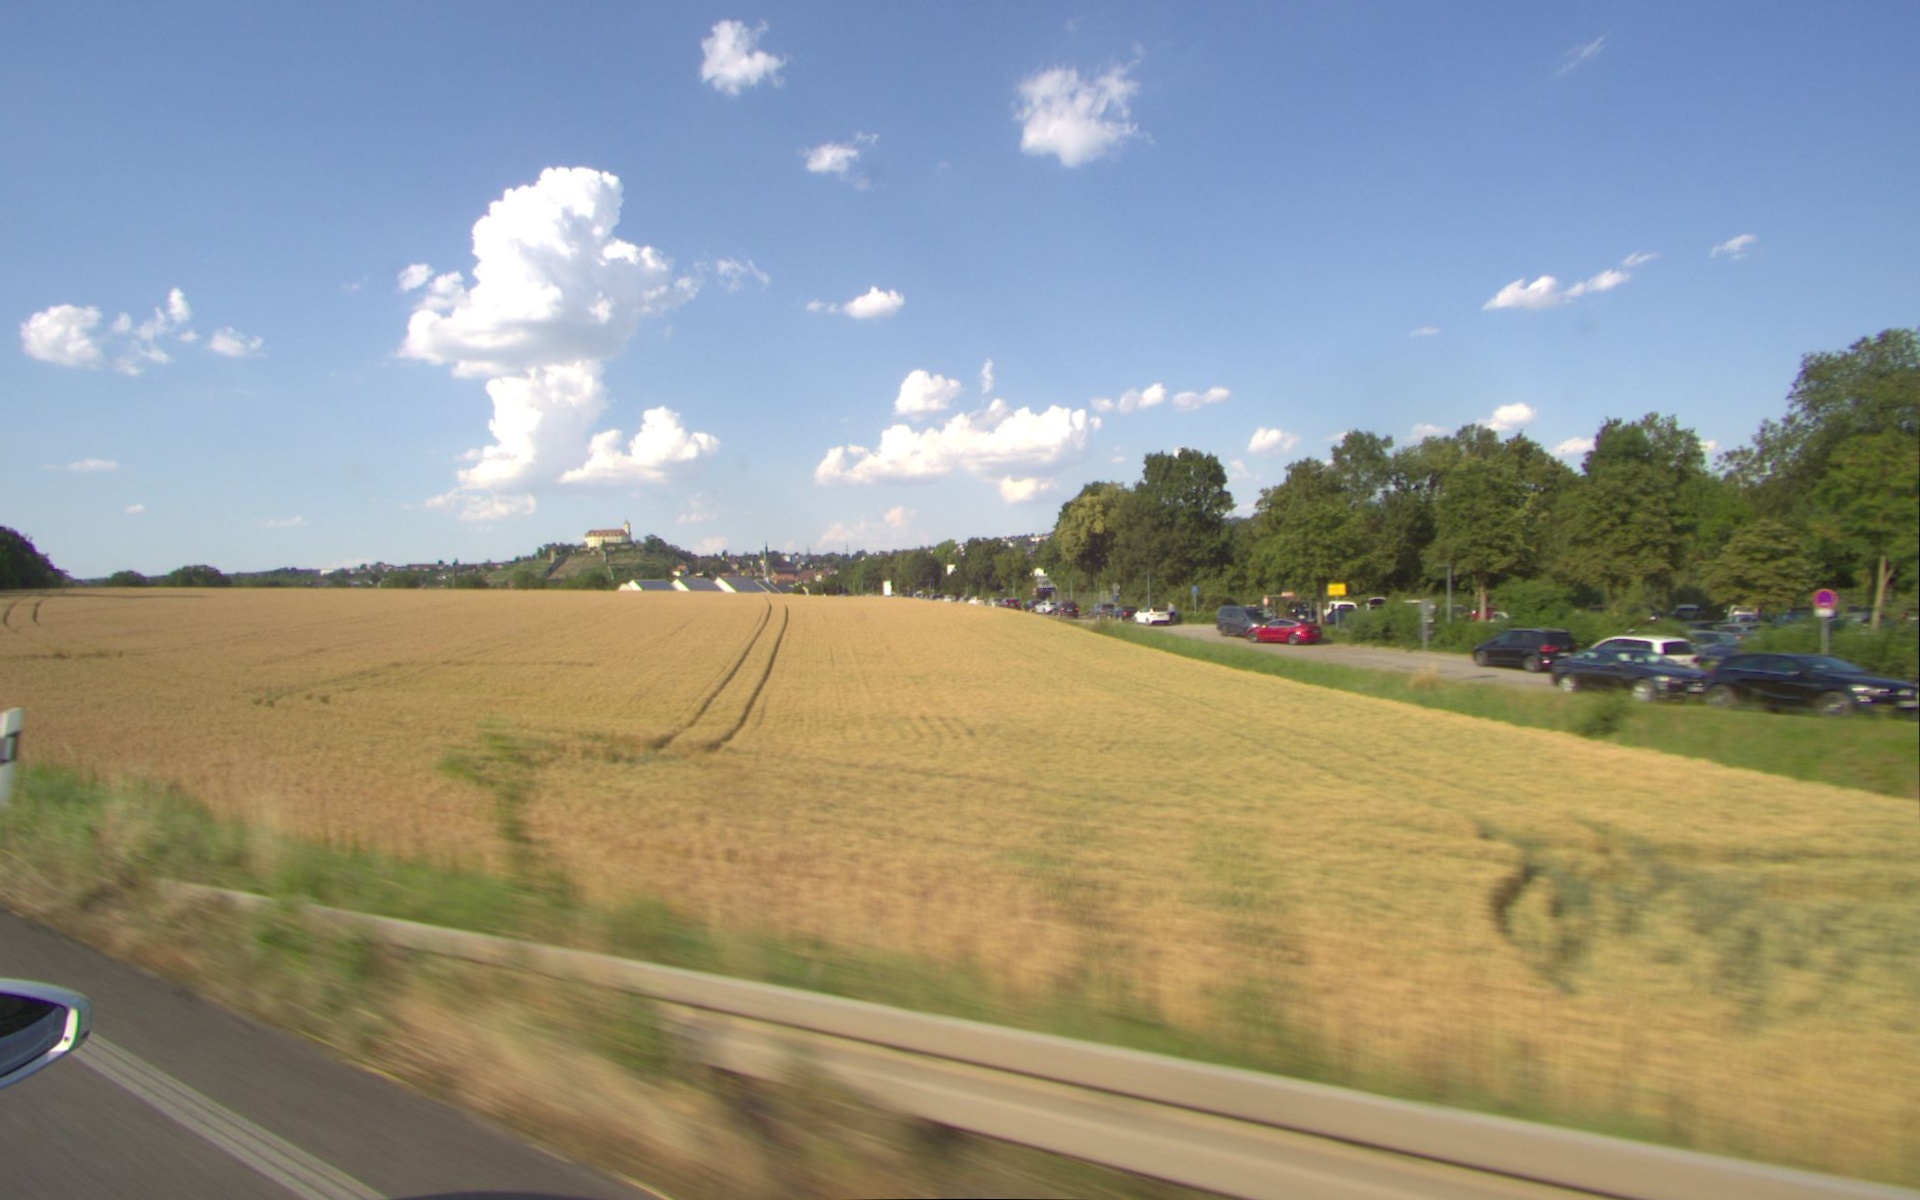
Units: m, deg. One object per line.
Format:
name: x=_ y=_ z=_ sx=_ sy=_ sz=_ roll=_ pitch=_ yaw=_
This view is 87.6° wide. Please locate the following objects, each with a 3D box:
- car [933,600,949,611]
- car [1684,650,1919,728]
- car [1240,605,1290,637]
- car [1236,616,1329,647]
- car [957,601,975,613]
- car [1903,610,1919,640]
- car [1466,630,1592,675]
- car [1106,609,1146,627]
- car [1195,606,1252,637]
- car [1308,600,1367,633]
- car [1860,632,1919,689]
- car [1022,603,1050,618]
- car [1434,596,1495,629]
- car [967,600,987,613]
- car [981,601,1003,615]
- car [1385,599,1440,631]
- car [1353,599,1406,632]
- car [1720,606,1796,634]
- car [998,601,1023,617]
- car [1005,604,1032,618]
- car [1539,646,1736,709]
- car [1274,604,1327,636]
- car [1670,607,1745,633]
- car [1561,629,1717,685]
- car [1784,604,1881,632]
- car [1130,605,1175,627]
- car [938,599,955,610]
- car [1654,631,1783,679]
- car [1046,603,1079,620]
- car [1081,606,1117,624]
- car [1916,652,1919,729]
car: x=-3.143 y=0.938 z=163.443 sx=1.962 sy=1.810 sz=4.875 roll=0 pitch=0 yaw=-9
car: x=19.522 y=1.957 z=23.054 sx=1.962 sy=1.526 sz=4.644 roll=0 pitch=-2 yaw=-8
car: x=23.397 y=1.560 z=77.093 sx=2.315 sy=2.272 sz=5.669 roll=-2 pitch=0 yaw=3
car: x=18.303 y=1.747 z=57.028 sx=1.975 sy=1.527 sz=4.840 roll=-3 pitch=2 yaw=-37
car: x=0.842 y=1.015 z=147.394 sx=1.962 sy=1.810 sz=4.875 roll=0 pitch=0 yaw=-9
car: x=57.389 y=1.414 z=57.662 sx=4.507 sy=1.713 sz=1.804 roll=0 pitch=-1 yaw=-1
car: x=23.009 y=2.084 z=40.740 sx=1.962 sy=1.527 sz=4.639 roll=0 pitch=1 yaw=-9
car: x=13.930 y=1.493 z=84.488 sx=1.962 sy=1.527 sz=4.640 roll=0 pitch=0 yaw=-9
car: x=17.381 y=1.389 z=66.271 sx=1.962 sy=1.809 sz=4.708 roll=0 pitch=1 yaw=-9
car: x=28.912 y=1.210 z=76.967 sx=2.453 sy=2.339 sz=6.077 roll=-2 pitch=0 yaw=3
car: x=31.810 y=1.916 z=32.594 sx=4.517 sy=1.713 sz=1.799 roll=0 pitch=-1 yaw=-19
car: x=7.931 y=1.047 z=104.813 sx=1.962 sy=1.527 sz=4.640 roll=0 pitch=0 yaw=-9
car: x=36.921 y=0.874 z=73.440 sx=2.316 sy=2.272 sz=5.667 roll=-2 pitch=0 yaw=9
car: x=2.387 y=0.911 z=138.604 sx=1.962 sy=1.810 sz=4.640 roll=0 pitch=0 yaw=-9
car: x=4.042 y=1.048 z=128.829 sx=1.962 sy=1.810 sz=4.640 roll=0 pitch=0 yaw=-9
car: x=33.999 y=1.105 z=75.444 sx=2.288 sy=2.272 sz=5.667 roll=-2 pitch=0 yaw=9
car: x=31.567 y=1.136 z=75.556 sx=2.316 sy=2.272 sz=5.667 roll=-2 pitch=0 yaw=9
car: x=51.742 y=1.295 z=64.922 sx=4.518 sy=1.713 sz=1.799 roll=0 pitch=-1 yaw=-20
car: x=5.778 y=1.053 z=115.716 sx=1.962 sy=1.810 sz=4.640 roll=0 pitch=0 yaw=-9
car: x=6.431 y=1.233 z=110.798 sx=1.962 sy=1.527 sz=4.640 roll=0 pitch=0 yaw=-9
car: x=18.679 y=2.087 z=27.926 sx=1.962 sy=1.526 sz=4.644 roll=0 pitch=-2 yaw=-8
car: x=26.071 y=1.457 z=76.885 sx=2.315 sy=2.272 sz=5.669 roll=-2 pitch=0 yaw=3
car: x=49.375 y=1.317 z=66.135 sx=4.517 sy=1.713 sz=1.799 roll=0 pitch=-1 yaw=-19
car: x=24.189 y=1.982 z=35.935 sx=1.962 sy=1.638 sz=4.638 roll=0 pitch=1 yaw=-9
car: x=54.222 y=1.127 z=62.266 sx=4.507 sy=1.713 sz=1.804 roll=0 pitch=-1 yaw=-1
car: x=15.154 y=1.242 z=79.147 sx=1.962 sy=1.527 sz=4.638 roll=0 pitch=1 yaw=-9
car: x=-2.159 y=0.724 z=157.324 sx=1.962 sy=1.810 sz=4.875 roll=0 pitch=0 yaw=-9
car: x=29.305 y=2.069 z=38.681 sx=4.517 sy=1.713 sz=1.799 roll=0 pitch=-1 yaw=-19
car: x=9.573 y=1.039 z=93.791 sx=1.962 sy=1.527 sz=4.640 roll=0 pitch=0 yaw=-9
car: x=12.475 y=1.326 z=90.060 sx=1.962 sy=1.527 sz=4.640 roll=0 pitch=0 yaw=-9
car: x=20.482 y=1.738 z=17.928 sx=1.962 sy=1.526 sz=4.644 roll=0 pitch=-2 yaw=-8
